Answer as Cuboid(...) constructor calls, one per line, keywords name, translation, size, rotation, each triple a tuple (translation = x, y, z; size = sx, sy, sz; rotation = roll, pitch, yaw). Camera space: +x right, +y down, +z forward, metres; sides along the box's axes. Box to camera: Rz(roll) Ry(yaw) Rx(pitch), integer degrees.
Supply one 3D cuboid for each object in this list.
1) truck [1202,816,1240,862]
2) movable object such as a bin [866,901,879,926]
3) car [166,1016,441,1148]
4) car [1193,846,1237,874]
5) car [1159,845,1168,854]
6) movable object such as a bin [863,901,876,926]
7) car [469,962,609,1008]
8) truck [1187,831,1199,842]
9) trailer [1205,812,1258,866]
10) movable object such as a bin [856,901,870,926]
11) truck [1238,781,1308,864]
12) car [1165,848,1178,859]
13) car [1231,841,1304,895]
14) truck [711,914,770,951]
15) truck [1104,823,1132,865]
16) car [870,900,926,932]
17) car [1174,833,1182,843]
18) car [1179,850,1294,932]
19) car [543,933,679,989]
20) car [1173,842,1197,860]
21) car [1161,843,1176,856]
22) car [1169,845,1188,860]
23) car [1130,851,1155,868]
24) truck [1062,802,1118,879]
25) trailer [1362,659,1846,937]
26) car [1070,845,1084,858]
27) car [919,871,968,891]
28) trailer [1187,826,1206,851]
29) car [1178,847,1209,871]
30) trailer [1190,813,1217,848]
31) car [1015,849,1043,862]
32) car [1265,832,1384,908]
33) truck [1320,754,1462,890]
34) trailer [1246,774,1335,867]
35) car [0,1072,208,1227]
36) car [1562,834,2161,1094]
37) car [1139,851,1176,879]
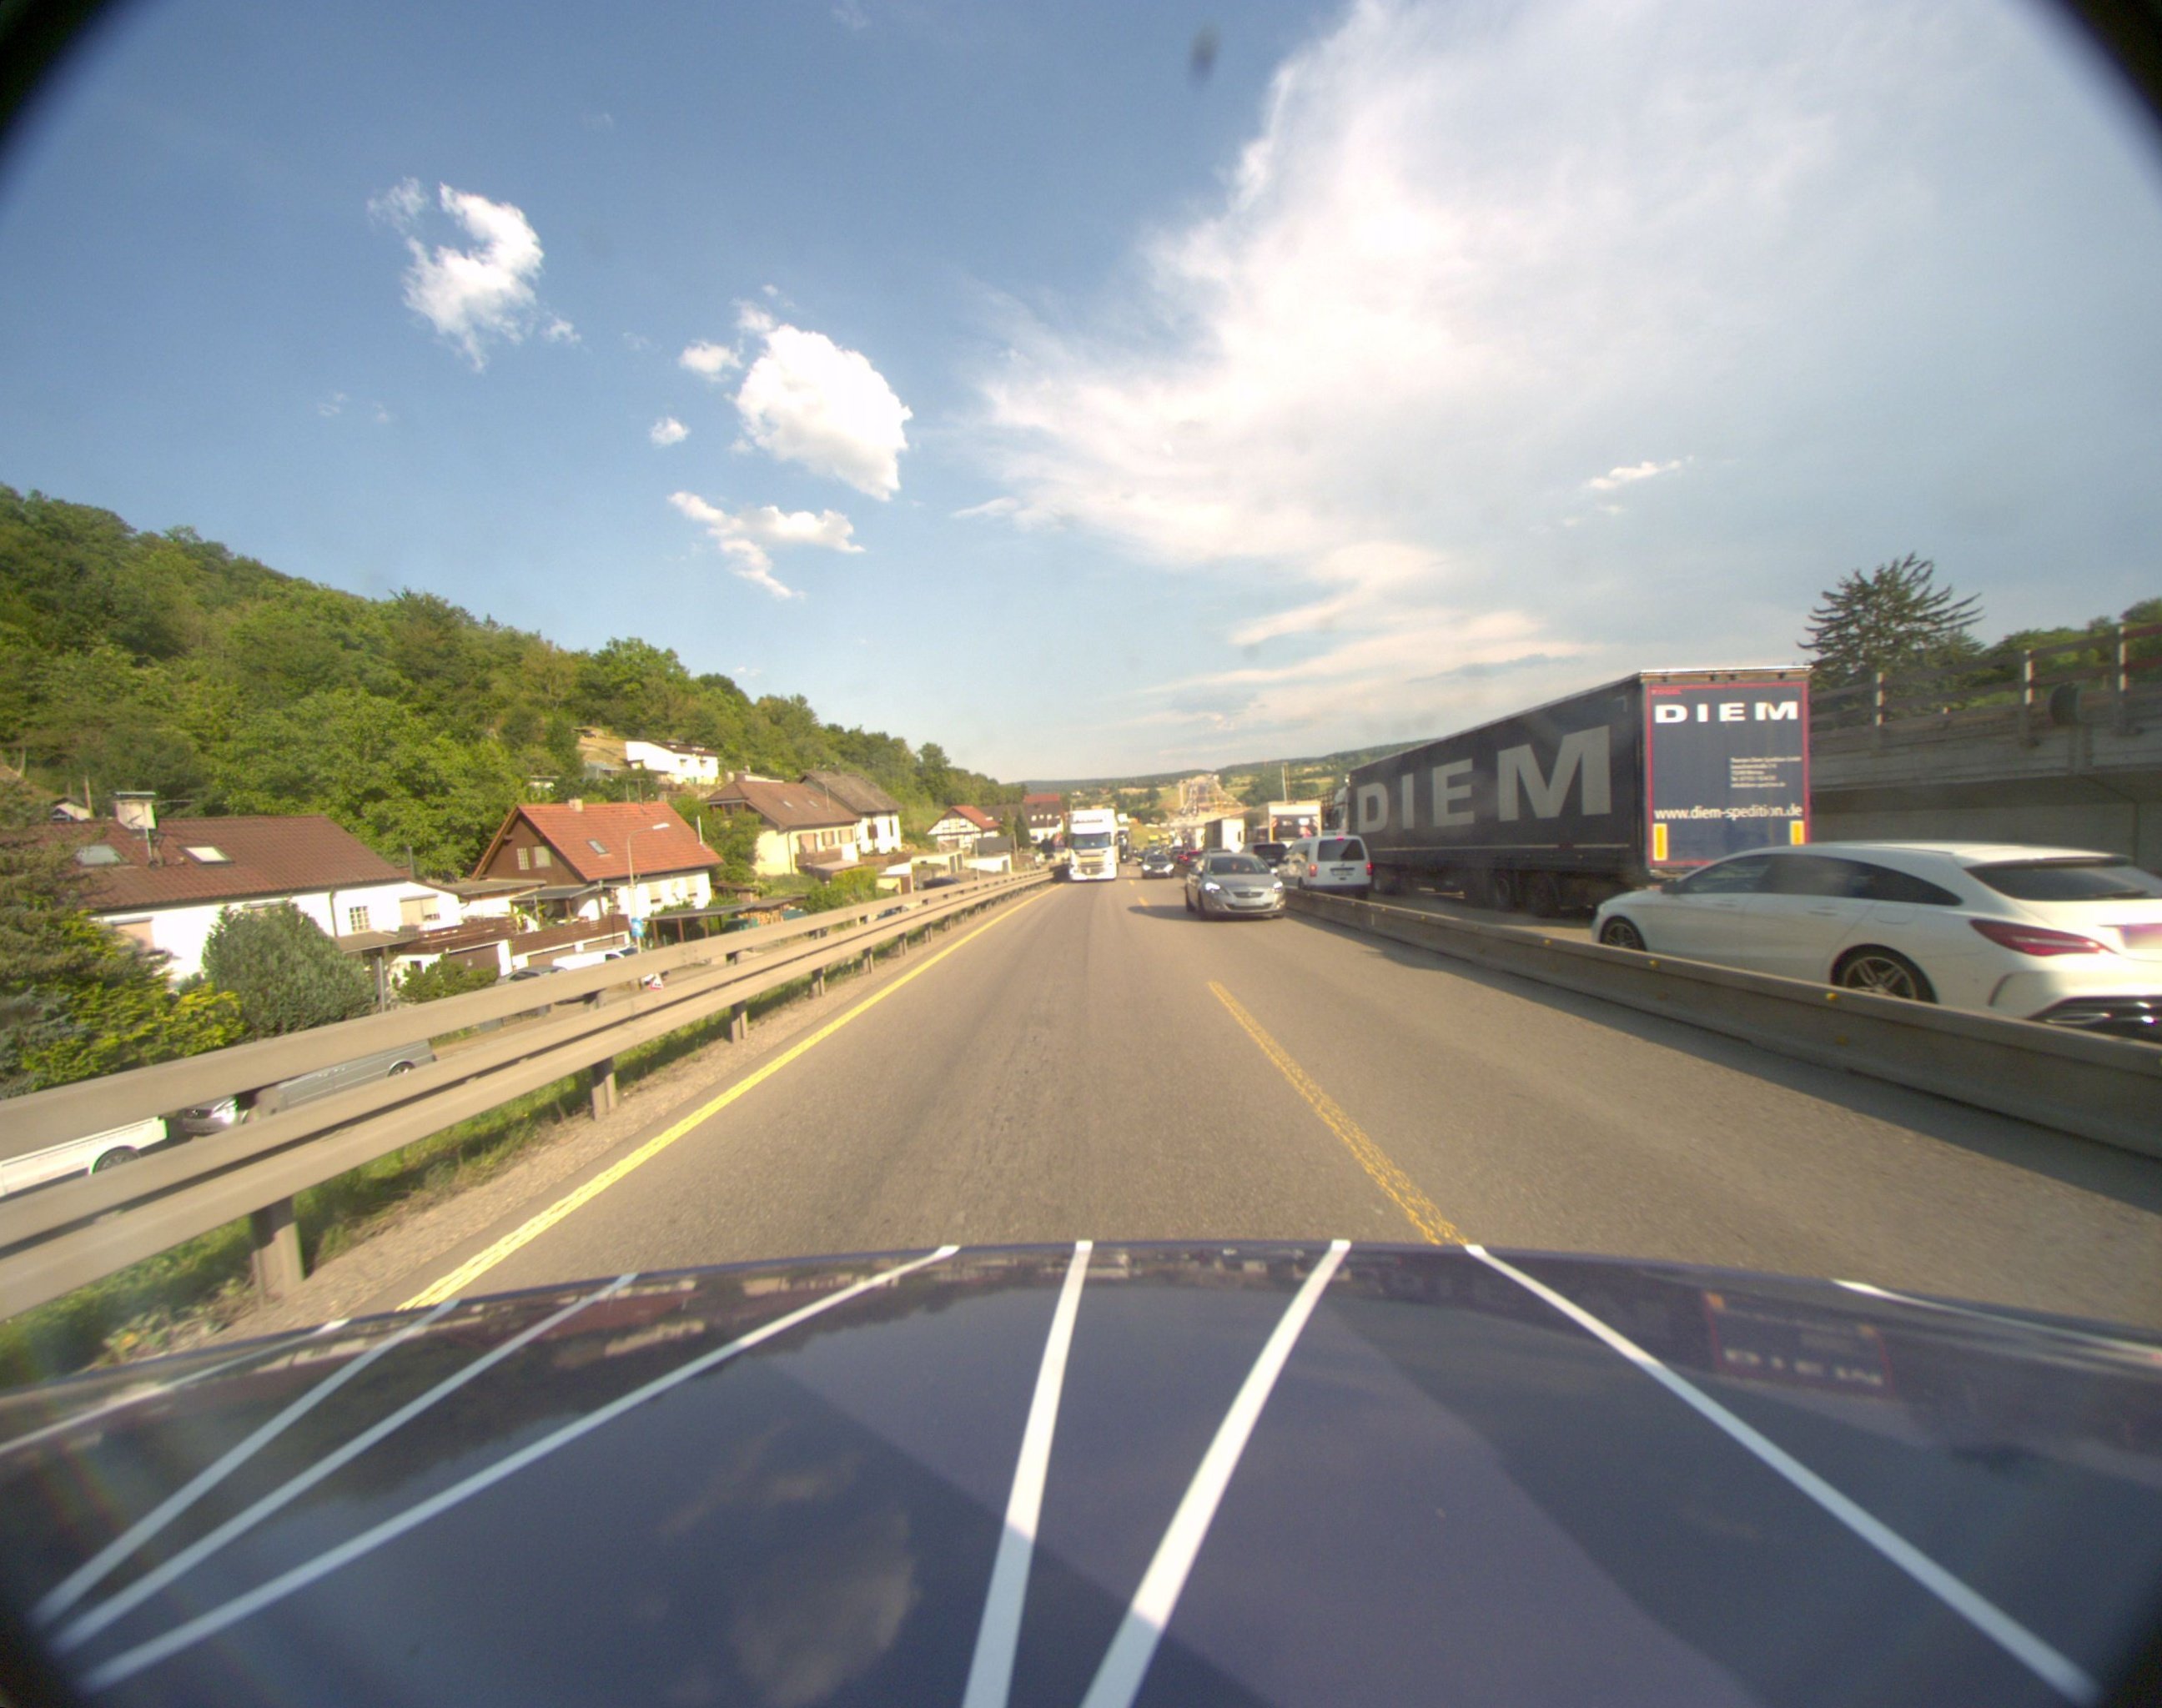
Cuboid(name="truck", translation=(13.356, -1.462, 72.967), size=(2.770, 4.179, 6.115), rotation=(-1, 1, 4))
Cuboid(name="movable object such as a bin", translation=(-15.737, 4.474, 57.329), size=(0.490, 1.760, 0.414), rotation=(-11, 1, 14))
Cuboid(name="car", translation=(-21.103, 6.083, 21.014), size=(1.999, 1.907, 4.865), rotation=(-1, 3, 12))
Cuboid(name="car", translation=(8.050, 0.324, 46.095), size=(1.881, 1.596, 5.368), rotation=(0, 1, 2))
Cuboid(name="car", translation=(15.590, -0.904, 143.803), size=(1.702, 1.567, 4.371), rotation=(-1, 1, 6))
Cuboid(name="movable object such as a bin", translation=(-15.851, 4.438, 56.920), size=(0.490, 1.760, 0.414), rotation=(-11, 1, 14))
Cuboid(name="car", translation=(-23.560, 5.691, 33.074), size=(5.099, 1.548, 1.716), rotation=(-2, 3, 9))
Cuboid(name="truck", translation=(31.858, -5.045, 216.352), size=(3.241, 3.128, 6.491), rotation=(-1, 1, 6))
Cuboid(name="trailer", translation=(12.937, -1.318, 66.553), size=(2.782, 4.179, 13.833), rotation=(-1, 1, 4))
Cuboid(name="movable object such as a bin", translation=(-16.072, 4.367, 56.086), size=(0.536, 1.760, 0.409), rotation=(-11, 1, 14))
Cuboid(name="truck", translation=(11.205, -1.800, 44.867), size=(2.926, 4.488, 5.027), rotation=(-2, 1, 3))
Cuboid(name="car", translation=(15.508, -0.130, 129.989), size=(1.884, 1.598, 4.731), rotation=(-4, 1, 4))
Cuboid(name="car", translation=(7.511, 0.475, 31.006), size=(1.837, 1.952, 4.898), rotation=(-2, 2, 1))
Cuboid(name="truck", translation=(-21.038, 4.791, 46.875), size=(2.002, 1.729, 3.990), rotation=(-12, 5, -40))
Cuboid(name="truck", translation=(4.437, -1.116, 89.132), size=(2.787, 4.505, 7.192), rotation=(-4, 0, 5))
Cuboid(name="car", translation=(-12.663, 4.268, 52.770), size=(1.770, 1.589, 3.620), rotation=(-7, 2, 24))
Cuboid(name="car", translation=(25.528, -4.164, 200.513), size=(2.000, 2.601, 5.615), rotation=(-1, 1, 7))
Cuboid(name="car", translation=(3.350, 0.732, 17.128), size=(1.810, 1.478, 4.118), rotation=(-3, 1, 2))
Cuboid(name="car", translation=(-22.774, 5.180, 36.899), size=(5.476, 2.251, 2.000), rotation=(-3, 3, 9))
Cuboid(name="car", translation=(9.740, -0.300, 71.475), size=(1.771, 1.542, 4.479), rotation=(-3, 2, 3))
Cuboid(name="car", translation=(12.871, -0.629, 112.066), size=(2.012, 1.645, 4.974), rotation=(-4, 1, 4))
Cuboid(name="car", translation=(10.929, -0.181, 85.383), size=(1.778, 1.448, 4.814), rotation=(-3, 2, 3))
Cuboid(name="car", translation=(6.120, 0.538, 76.193), size=(1.999, 1.565, 3.998), rotation=(-1, 1, -2))
Cuboid(name="truck", translation=(0.585, -0.888, 47.801), size=(2.892, 4.059, 13.890), rotation=(-1, 1, 1))
Cuboid(name="trailer", translation=(10.056, -0.900, 17.522), size=(2.721, 4.099, 12.491), rotation=(-1, 1, 1))
Cuboid(name="car", translation=(-0.648, -0.497, 128.318), size=(1.823, 1.931, 4.284), rotation=(-3, 3, 5))
Cuboid(name="car", translation=(-14.066, 2.752, 77.887), size=(4.500, 1.517, 2.000), rotation=(4, 4, 10))
Cuboid(name="trailer", translation=(19.836, -2.630, 131.250), size=(2.821, 4.082, 8.289), rotation=(-1, 1, 6))
Cuboid(name="car", translation=(8.831, 0.330, 60.055), size=(1.866, 1.577, 4.745), rotation=(-5, 2, 3))
Cuboid(name="trailer", translation=(16.431, -3.128, 102.713), size=(2.461, 4.295, 13.777), rotation=(-1, 1, 5))
Cuboid(name="car", translation=(-8.133, 0.219, 118.567), size=(3.994, 1.829, 1.750), rotation=(0, 3, 7))
Cuboid(name="car", translation=(6.872, 0.356, 22.062), size=(1.828, 1.922, 5.129), rotation=(1, 1, 1))
Cuboid(name="truck", translation=(10.171, -1.003, 25.519), size=(2.756, 4.091, 5.030), rotation=(-1, 1, 0))
Cuboid(name="trailer", translation=(11.002, -1.686, 40.668), size=(2.918, 4.440, 7.152), rotation=(-2, 1, 3))
Cuboid(name="car", translation=(-22.237, 6.373, 15.773), size=(1.865, 1.975, 5.053), rotation=(-1, 3, 10))
Cuboid(name="car", translation=(6.683, 0.597, 6.798), size=(1.807, 1.513, 4.816), rotation=(0, 1, 2))
Cuboid(name="car", translation=(4.358, 0.614, 43.731), size=(1.823, 1.433, 4.000), rotation=(-3, 0, 2))
